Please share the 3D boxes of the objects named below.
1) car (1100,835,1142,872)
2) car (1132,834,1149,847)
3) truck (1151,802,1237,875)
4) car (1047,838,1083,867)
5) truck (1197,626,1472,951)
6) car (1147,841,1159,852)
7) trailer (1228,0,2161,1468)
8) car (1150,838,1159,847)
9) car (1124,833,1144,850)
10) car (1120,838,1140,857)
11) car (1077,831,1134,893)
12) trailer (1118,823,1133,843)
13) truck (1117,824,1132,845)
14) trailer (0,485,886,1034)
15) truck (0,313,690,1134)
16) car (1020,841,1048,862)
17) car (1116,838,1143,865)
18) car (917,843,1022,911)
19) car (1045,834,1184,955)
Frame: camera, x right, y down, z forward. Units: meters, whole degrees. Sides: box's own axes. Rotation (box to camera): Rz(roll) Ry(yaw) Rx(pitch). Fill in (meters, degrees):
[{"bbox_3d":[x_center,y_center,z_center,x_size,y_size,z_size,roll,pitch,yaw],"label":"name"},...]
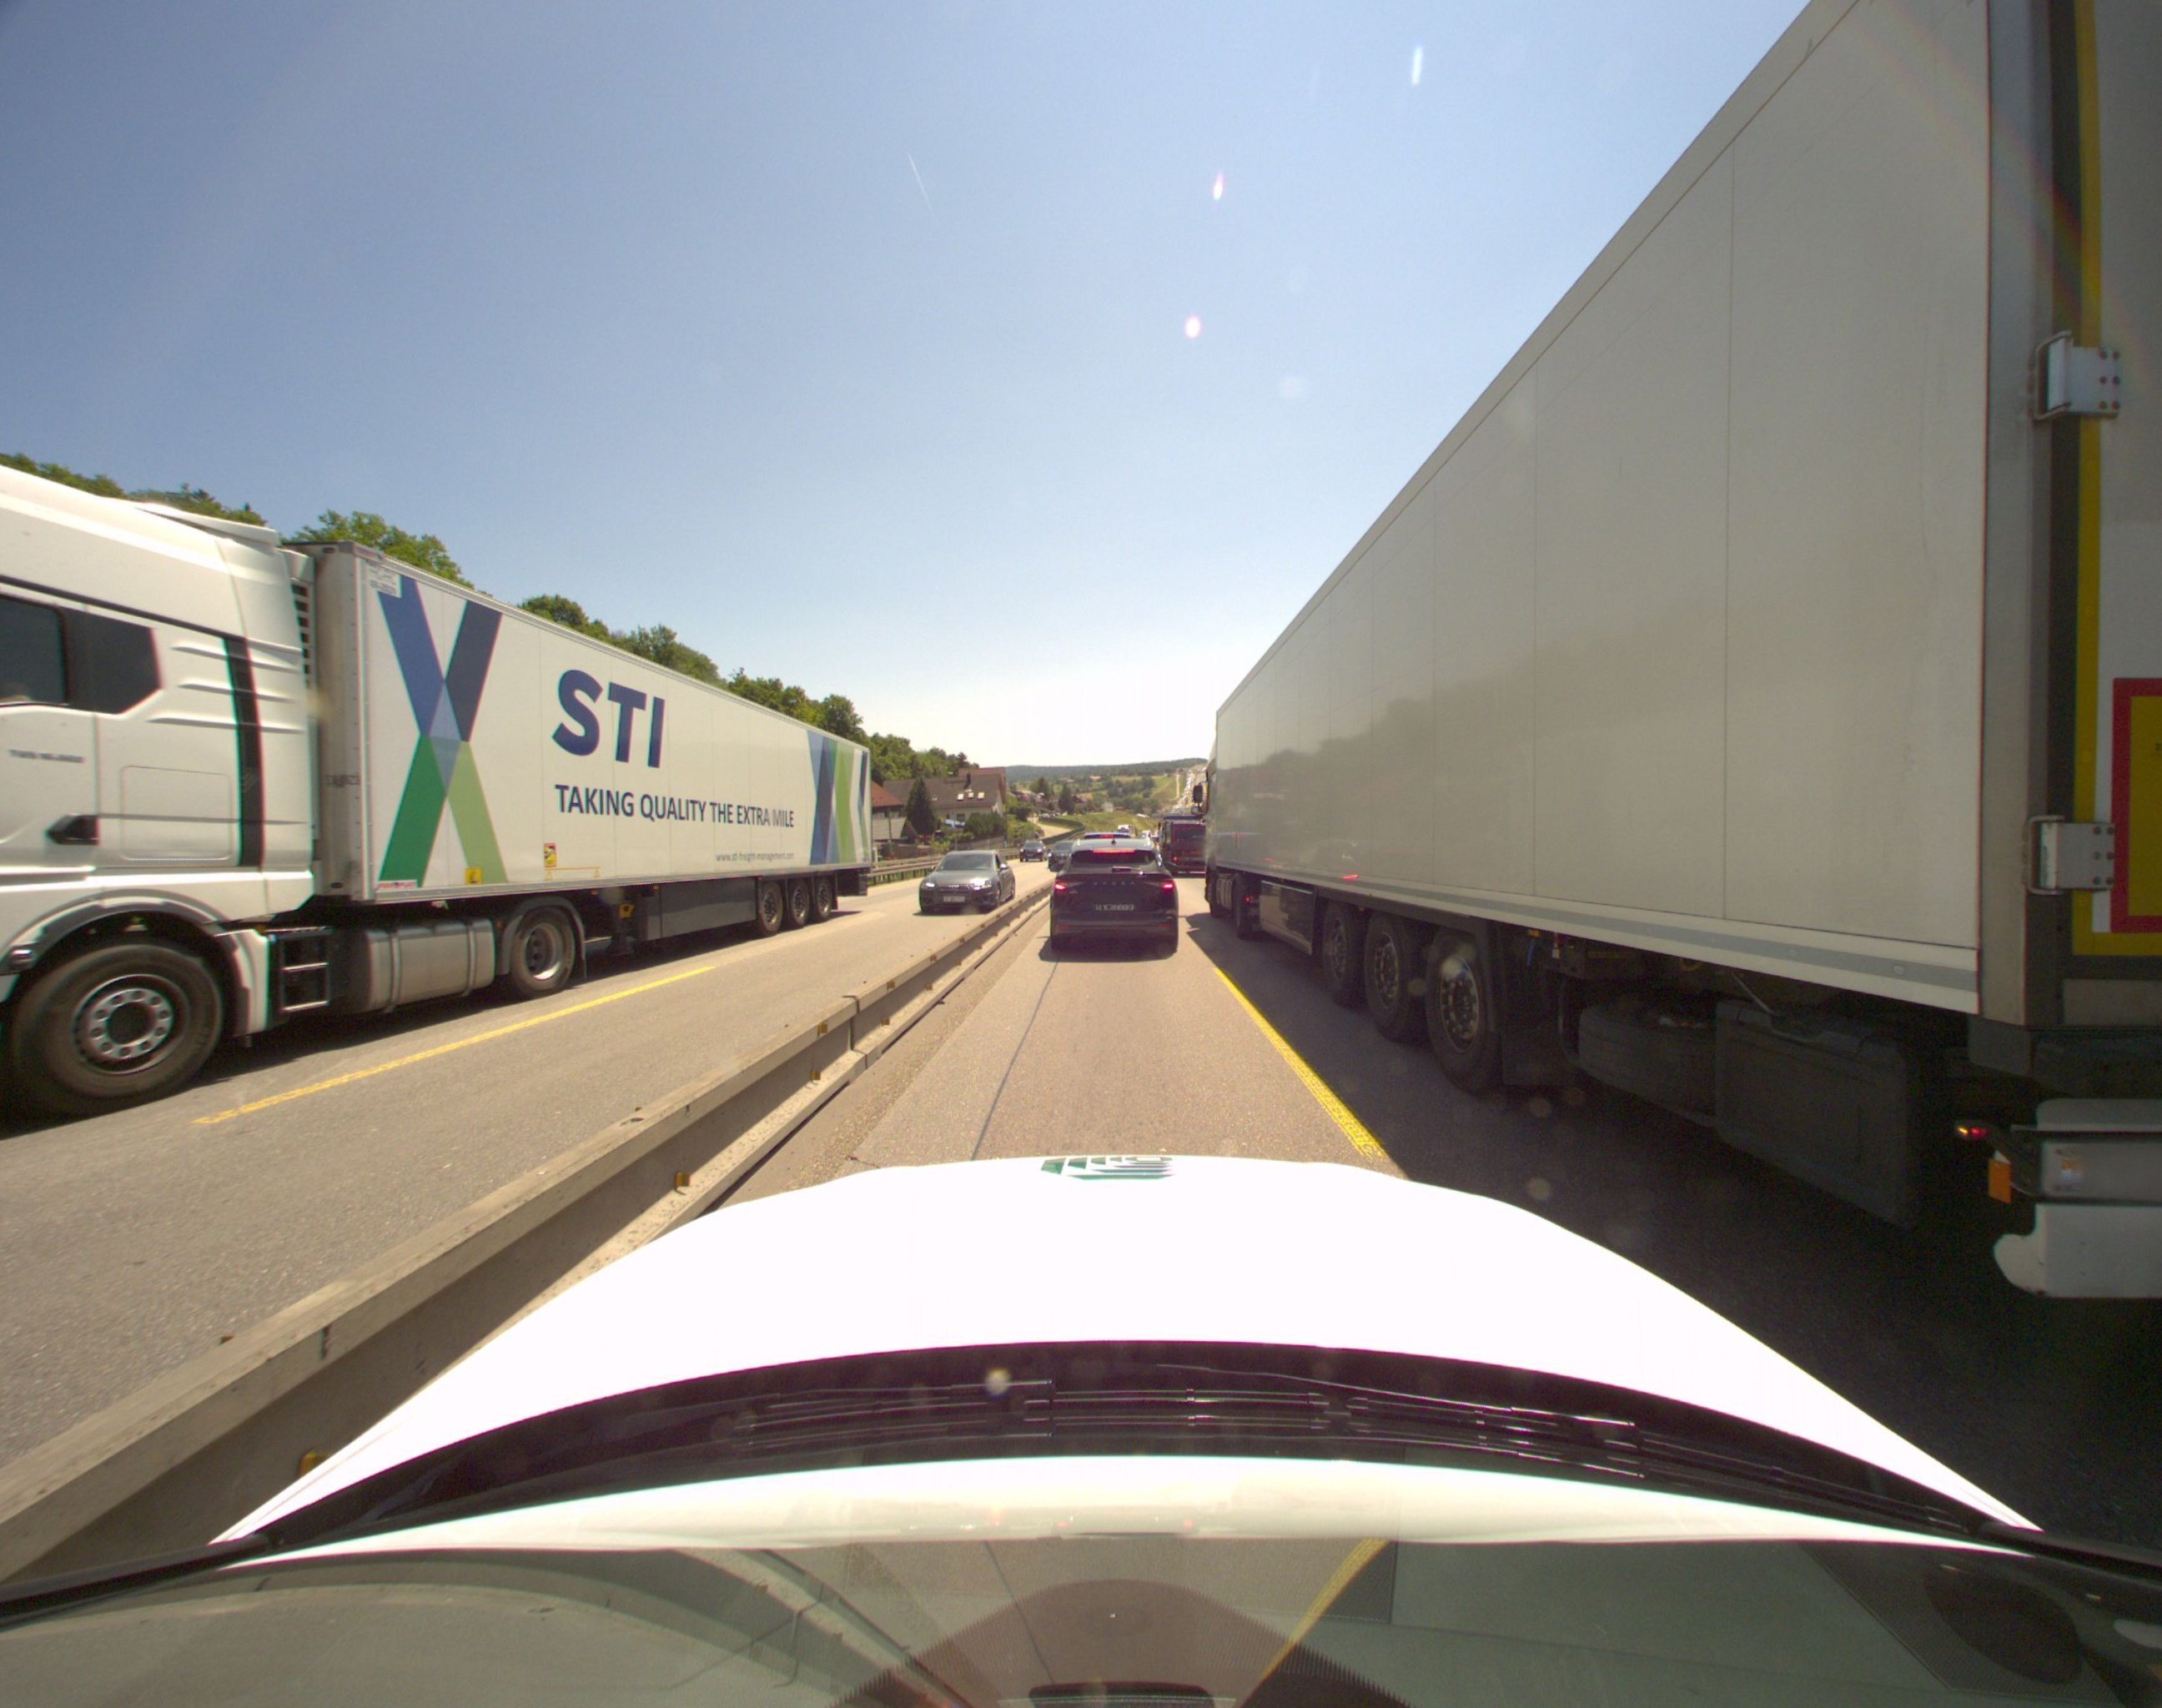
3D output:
[{"bbox_3d":[1.839,-0.077,38.310,1.702,1.622,3.999,0,2,-1],"label":"car"},{"bbox_3d":[7.306,-1.658,100.166,1.985,1.585,3.840,0,0,4],"label":"car"},{"bbox_3d":[5.486,-0.682,42.089,3.182,3.191,12.816,0,0,2],"label":"truck"},{"bbox_3d":[-0.905,-0.095,48.898,1.812,1.586,4.162,2,0,3],"label":"car"},{"bbox_3d":[3.720,-0.817,14.210,2.504,4.025,8.241,0,0,2],"label":"truck"},{"bbox_3d":[11.054,-1.182,125.314,1.691,1.727,3.844,0,0,7],"label":"car"},{"bbox_3d":[3.447,-0.773,7.491,2.522,4.126,11.554,0,0,2],"label":"trailer"},{"bbox_3d":[14.552,-2.257,160.567,1.691,1.727,3.844,0,0,7],"label":"car"},{"bbox_3d":[5.409,-1.249,82.545,1.985,1.585,3.840,0,0,4],"label":"car"},{"bbox_3d":[4.287,-0.613,71.198,1.700,1.622,4.003,0,2,3],"label":"car"},{"bbox_3d":[0.743,0.192,26.725,1.702,1.881,3.999,0,2,-1],"label":"car"},{"bbox_3d":[9.503,-4.436,172.870,2.742,4.069,8.025,0,2,7],"label":"trailer"},{"bbox_3d":[8.951,-4.055,168.106,2.738,4.283,4.966,0,1,6],"label":"truck"},{"bbox_3d":[-6.876,-0.772,13.573,3.239,4.378,14.068,0,0,3],"label":"trailer"},{"bbox_3d":[-7.238,-0.698,7.085,3.289,4.362,8.308,0,0,3],"label":"truck"},{"bbox_3d":[-3.462,-0.188,60.226,1.699,1.465,3.683,0,0,2],"label":"car"},{"bbox_3d":[3.114,-0.182,53.072,1.700,1.622,4.003,0,2,3],"label":"car"},{"bbox_3d":[-2.635,0.501,20.375,1.783,1.453,4.637,-2,0,2],"label":"car"},{"bbox_3d":[0.423,0.530,12.692,1.837,1.586,3.906,0,0,-1],"label":"car"}]
